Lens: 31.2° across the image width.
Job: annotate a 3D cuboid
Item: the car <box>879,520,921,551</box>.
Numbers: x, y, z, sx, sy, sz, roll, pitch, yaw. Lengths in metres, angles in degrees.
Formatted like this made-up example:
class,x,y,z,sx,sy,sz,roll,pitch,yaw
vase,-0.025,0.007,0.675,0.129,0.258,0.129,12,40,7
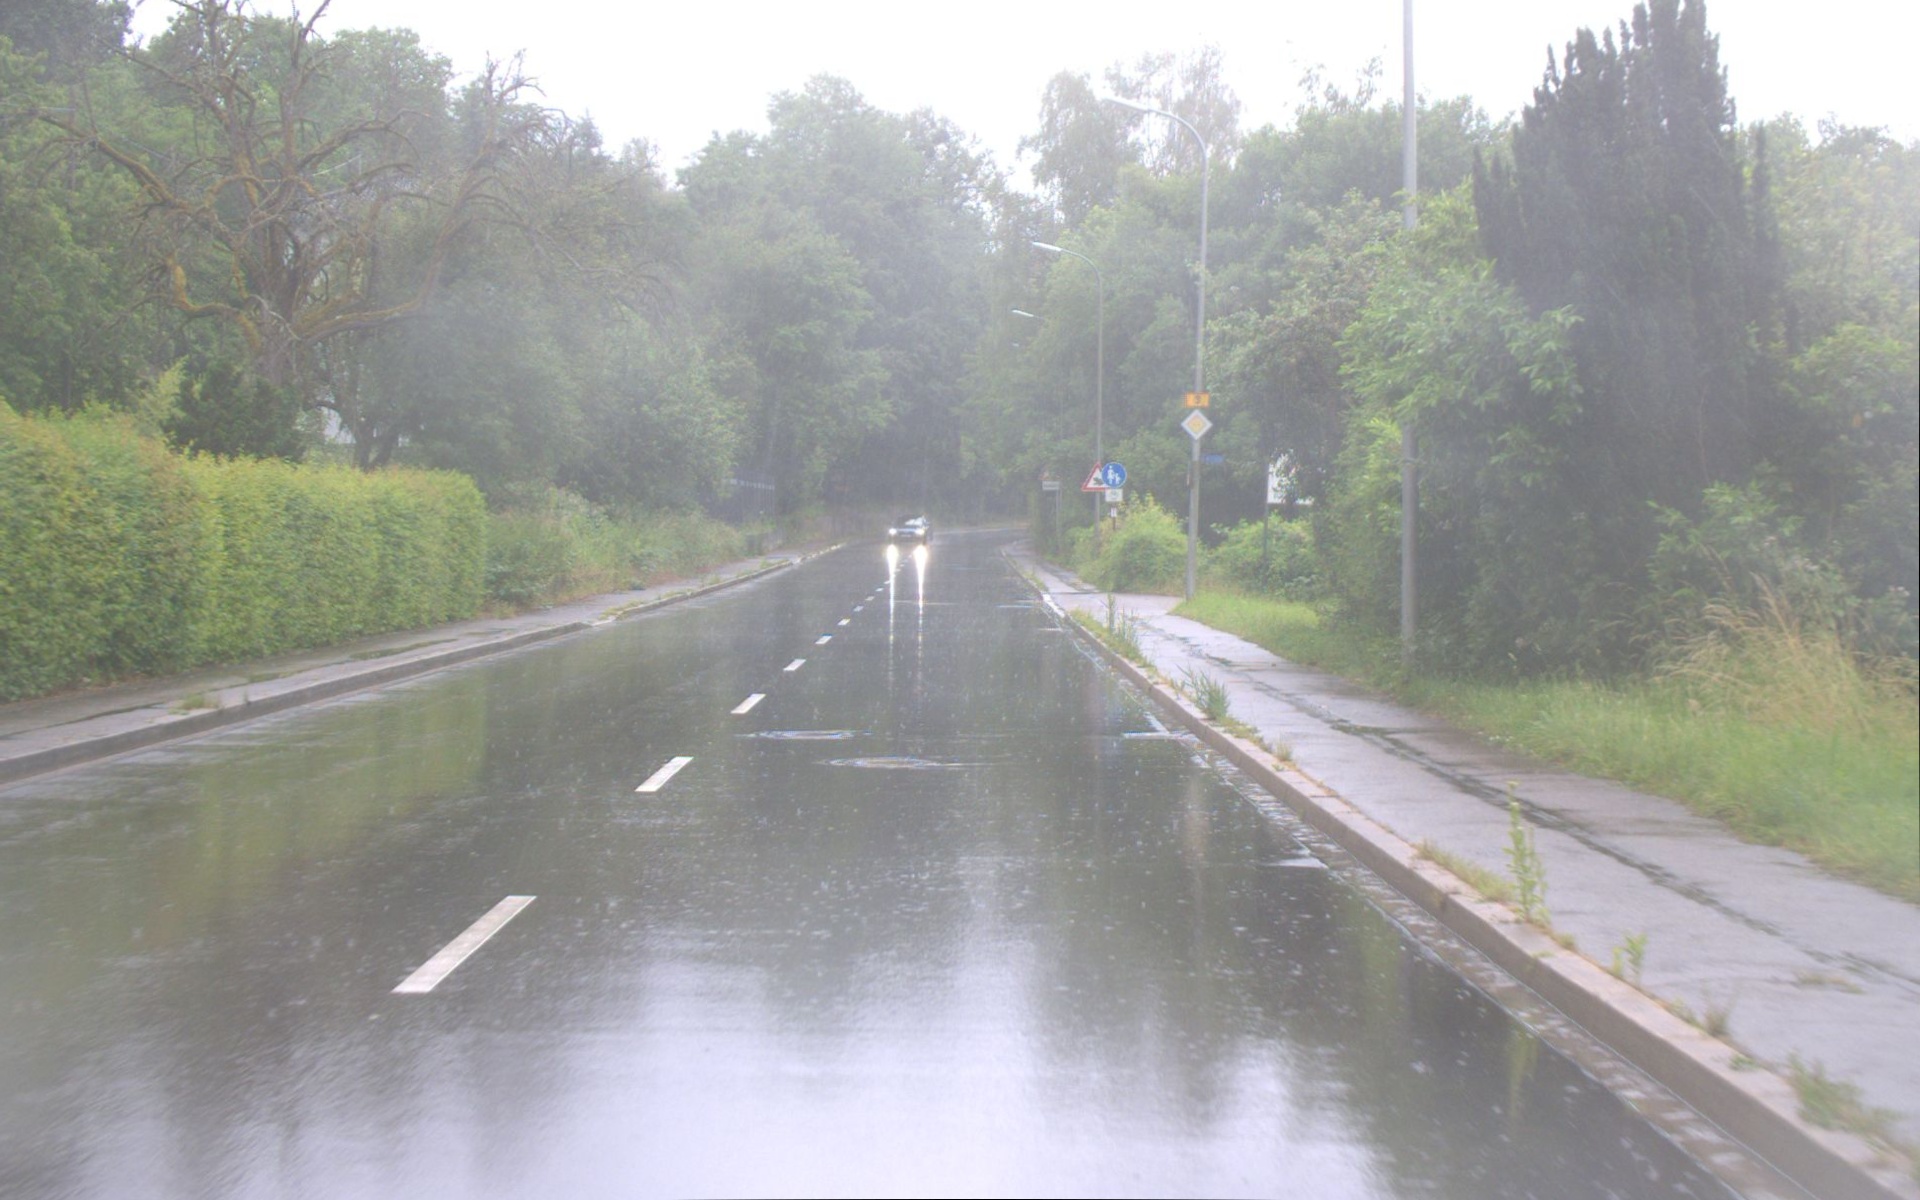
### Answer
class,x,y,z,sx,sy,sz,roll,pitch,yaw
car,-2.988,-3.239,171.359,1.993,1.449,4.428,1,2,0
